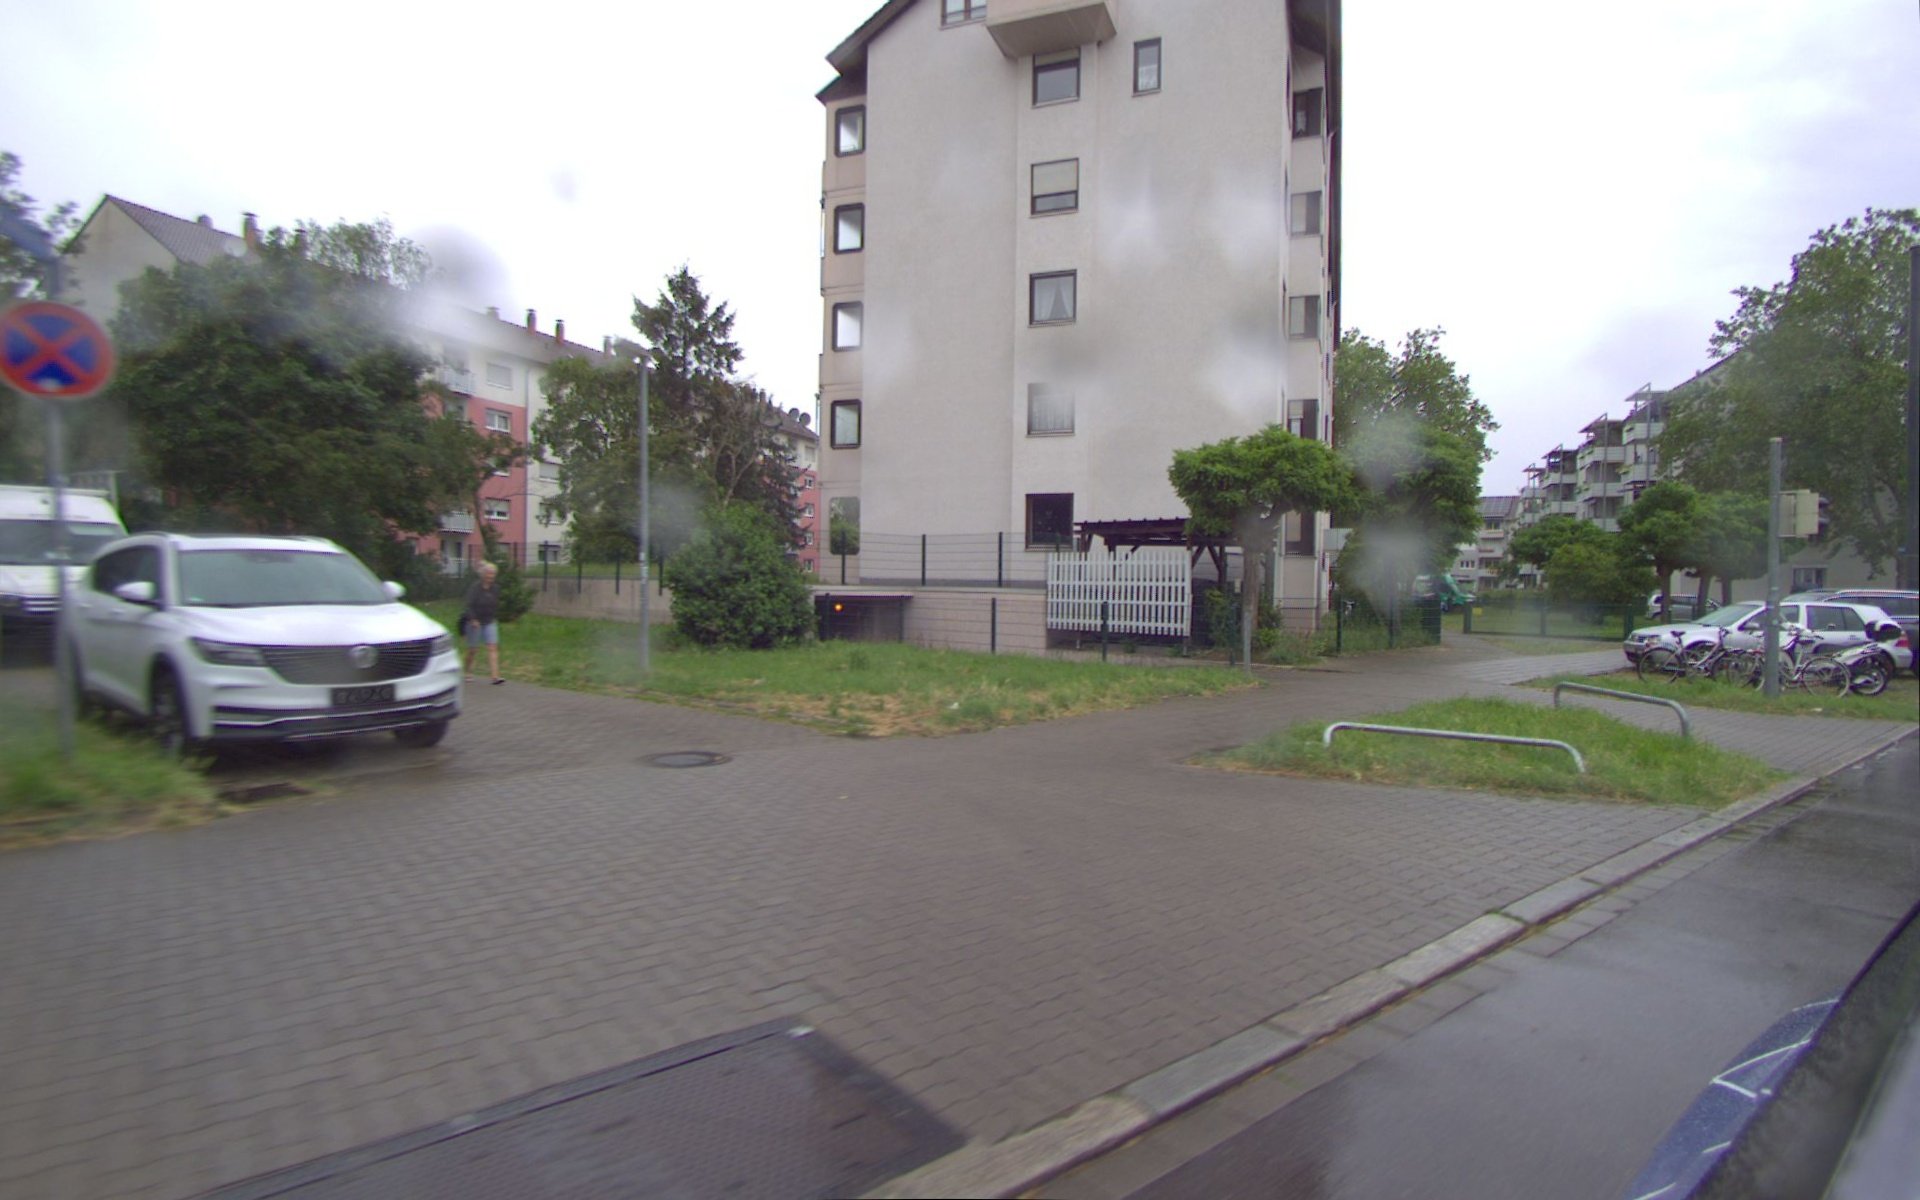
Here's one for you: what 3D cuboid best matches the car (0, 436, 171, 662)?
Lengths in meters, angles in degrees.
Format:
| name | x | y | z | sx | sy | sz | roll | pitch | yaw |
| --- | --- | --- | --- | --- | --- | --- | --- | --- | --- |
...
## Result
| name | x | y | z | sx | sy | sz | roll | pitch | yaw |
| --- | --- | --- | --- | --- | --- | --- | --- | --- | --- |
| car | -14.711 | -0.750 | 15.927 | 6.040 | 3.001 | 2.102 | 2 | 1 | 37 |

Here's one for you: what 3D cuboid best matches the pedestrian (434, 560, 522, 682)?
| name | x | y | z | sx | sy | sz | roll | pitch | yaw |
| --- | --- | --- | --- | --- | --- | --- | --- | --- | --- |
| pedestrian | -6.562 | 0.259 | 13.778 | 0.836 | 1.590 | 0.803 | 1 | 1 | 39 |

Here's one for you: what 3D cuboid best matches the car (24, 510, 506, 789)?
| name | x | y | z | sx | sy | sz | roll | pitch | yaw |
| --- | --- | --- | --- | --- | --- | --- | --- | --- | --- |
| car | -6.102 | 0.252 | 8.665 | 4.790 | 1.767 | 1.974 | 2 | 1 | 37 |

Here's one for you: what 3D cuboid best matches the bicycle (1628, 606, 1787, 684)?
| name | x | y | z | sx | sy | sz | roll | pitch | yaw |
| --- | --- | --- | --- | --- | --- | --- | --- | --- | --- |
| bicycle | 11.808 | 0.697 | 16.030 | 1.922 | 1.116 | 0.628 | 2 | 1 | 5 |

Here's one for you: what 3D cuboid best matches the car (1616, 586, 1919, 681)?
| name | x | y | z | sx | sy | sz | roll | pitch | yaw |
| --- | --- | --- | --- | --- | --- | --- | --- | --- | --- |
| car | 14.399 | 0.540 | 18.097 | 4.066 | 1.440 | 1.731 | 2 | 1 | 15 |

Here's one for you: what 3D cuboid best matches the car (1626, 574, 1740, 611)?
| name | x | y | z | sx | sy | sz | roll | pitch | yaw |
| --- | --- | --- | --- | --- | --- | --- | --- | --- | --- |
| car | 36.313 | -0.418 | 50.885 | 1.837 | 1.701 | 4.305 | 0 | 2 | -38 |

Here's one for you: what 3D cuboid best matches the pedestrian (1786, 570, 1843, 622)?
| name | x | y | z | sx | sy | sz | roll | pitch | yaw |
| --- | --- | --- | --- | --- | --- | --- | --- | --- | --- |
| pedestrian | 30.640 | -0.147 | 36.293 | 1.405 | 1.836 | 1.104 | 0 | 1 | -30 |

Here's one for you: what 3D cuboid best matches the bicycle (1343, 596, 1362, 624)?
| name | x | y | z | sx | sy | sz | roll | pitch | yaw |
| --- | --- | --- | --- | --- | --- | --- | --- | --- | --- |
| bicycle | 12.970 | 0.326 | 33.429 | 0.486 | 0.858 | 1.559 | 2 | 1 | 24 |

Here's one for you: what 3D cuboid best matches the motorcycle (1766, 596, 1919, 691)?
| name | x | y | z | sx | sy | sz | roll | pitch | yaw |
| --- | --- | --- | --- | --- | --- | --- | --- | --- | --- |
| motorcycle | 13.738 | 0.656 | 15.684 | 1.754 | 1.353 | 0.686 | 2 | 1 | 15 |

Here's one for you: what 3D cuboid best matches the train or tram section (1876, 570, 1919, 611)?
| name | x | y | z | sx | sy | sz | roll | pitch | yaw |
| --- | --- | --- | --- | --- | --- | --- | --- | --- | --- |
| train or tram section | 79.329 | -0.757 | 83.021 | 2.708 | 3.381 | 6.394 | 1 | 1 | 4 |

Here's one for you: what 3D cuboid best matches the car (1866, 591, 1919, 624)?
| name | x | y | z | sx | sy | sz | roll | pitch | yaw |
| --- | --- | --- | --- | --- | --- | --- | --- | --- | --- |
| car | 45.344 | 0.337 | 47.398 | 4.089 | 1.528 | 1.834 | 1 | 0 | 33 |

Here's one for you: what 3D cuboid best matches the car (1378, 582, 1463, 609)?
| name | x | y | z | sx | sy | sz | roll | pitch | yaw |
| --- | --- | --- | --- | --- | --- | --- | --- | --- | --- |
| car | 27.803 | -0.246 | 61.202 | 1.902 | 1.525 | 4.303 | 0 | -1 | -38 |

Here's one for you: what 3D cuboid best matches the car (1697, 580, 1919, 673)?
| name | x | y | z | sx | sy | sz | roll | pitch | yaw |
| --- | --- | --- | --- | --- | --- | --- | --- | --- | --- |
| car | 17.456 | 0.492 | 19.964 | 4.292 | 1.672 | 1.847 | 2 | 1 | 18 |

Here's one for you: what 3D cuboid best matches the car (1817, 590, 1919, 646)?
| name | x | y | z | sx | sy | sz | roll | pitch | yaw |
| --- | --- | --- | --- | --- | --- | --- | --- | --- | --- |
| car | 28.449 | 0.545 | 30.213 | 3.938 | 1.526 | 1.701 | 2 | 3 | 12 |

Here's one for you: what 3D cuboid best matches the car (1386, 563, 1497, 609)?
| name | x | y | z | sx | sy | sz | roll | pitch | yaw |
| --- | --- | --- | --- | --- | --- | --- | --- | --- | --- |
| car | 31.152 | -0.961 | 65.696 | 2.147 | 2.813 | 6.136 | 0 | 1 | -38 |

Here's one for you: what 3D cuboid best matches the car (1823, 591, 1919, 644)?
| name | x | y | z | sx | sy | sz | roll | pitch | yaw |
| --- | --- | --- | --- | --- | --- | --- | --- | --- | --- |
| car | 30.613 | 0.562 | 32.489 | 3.942 | 1.526 | 1.777 | 2 | 3 | 15 |

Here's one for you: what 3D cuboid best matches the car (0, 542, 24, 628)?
| name | x | y | z | sx | sy | sz | roll | pitch | yaw |
| --- | --- | --- | --- | --- | --- | --- | --- | --- | --- |
| car | -19.391 | -0.318 | 19.151 | 4.396 | 1.545 | 1.881 | 2 | 1 | 39 |
